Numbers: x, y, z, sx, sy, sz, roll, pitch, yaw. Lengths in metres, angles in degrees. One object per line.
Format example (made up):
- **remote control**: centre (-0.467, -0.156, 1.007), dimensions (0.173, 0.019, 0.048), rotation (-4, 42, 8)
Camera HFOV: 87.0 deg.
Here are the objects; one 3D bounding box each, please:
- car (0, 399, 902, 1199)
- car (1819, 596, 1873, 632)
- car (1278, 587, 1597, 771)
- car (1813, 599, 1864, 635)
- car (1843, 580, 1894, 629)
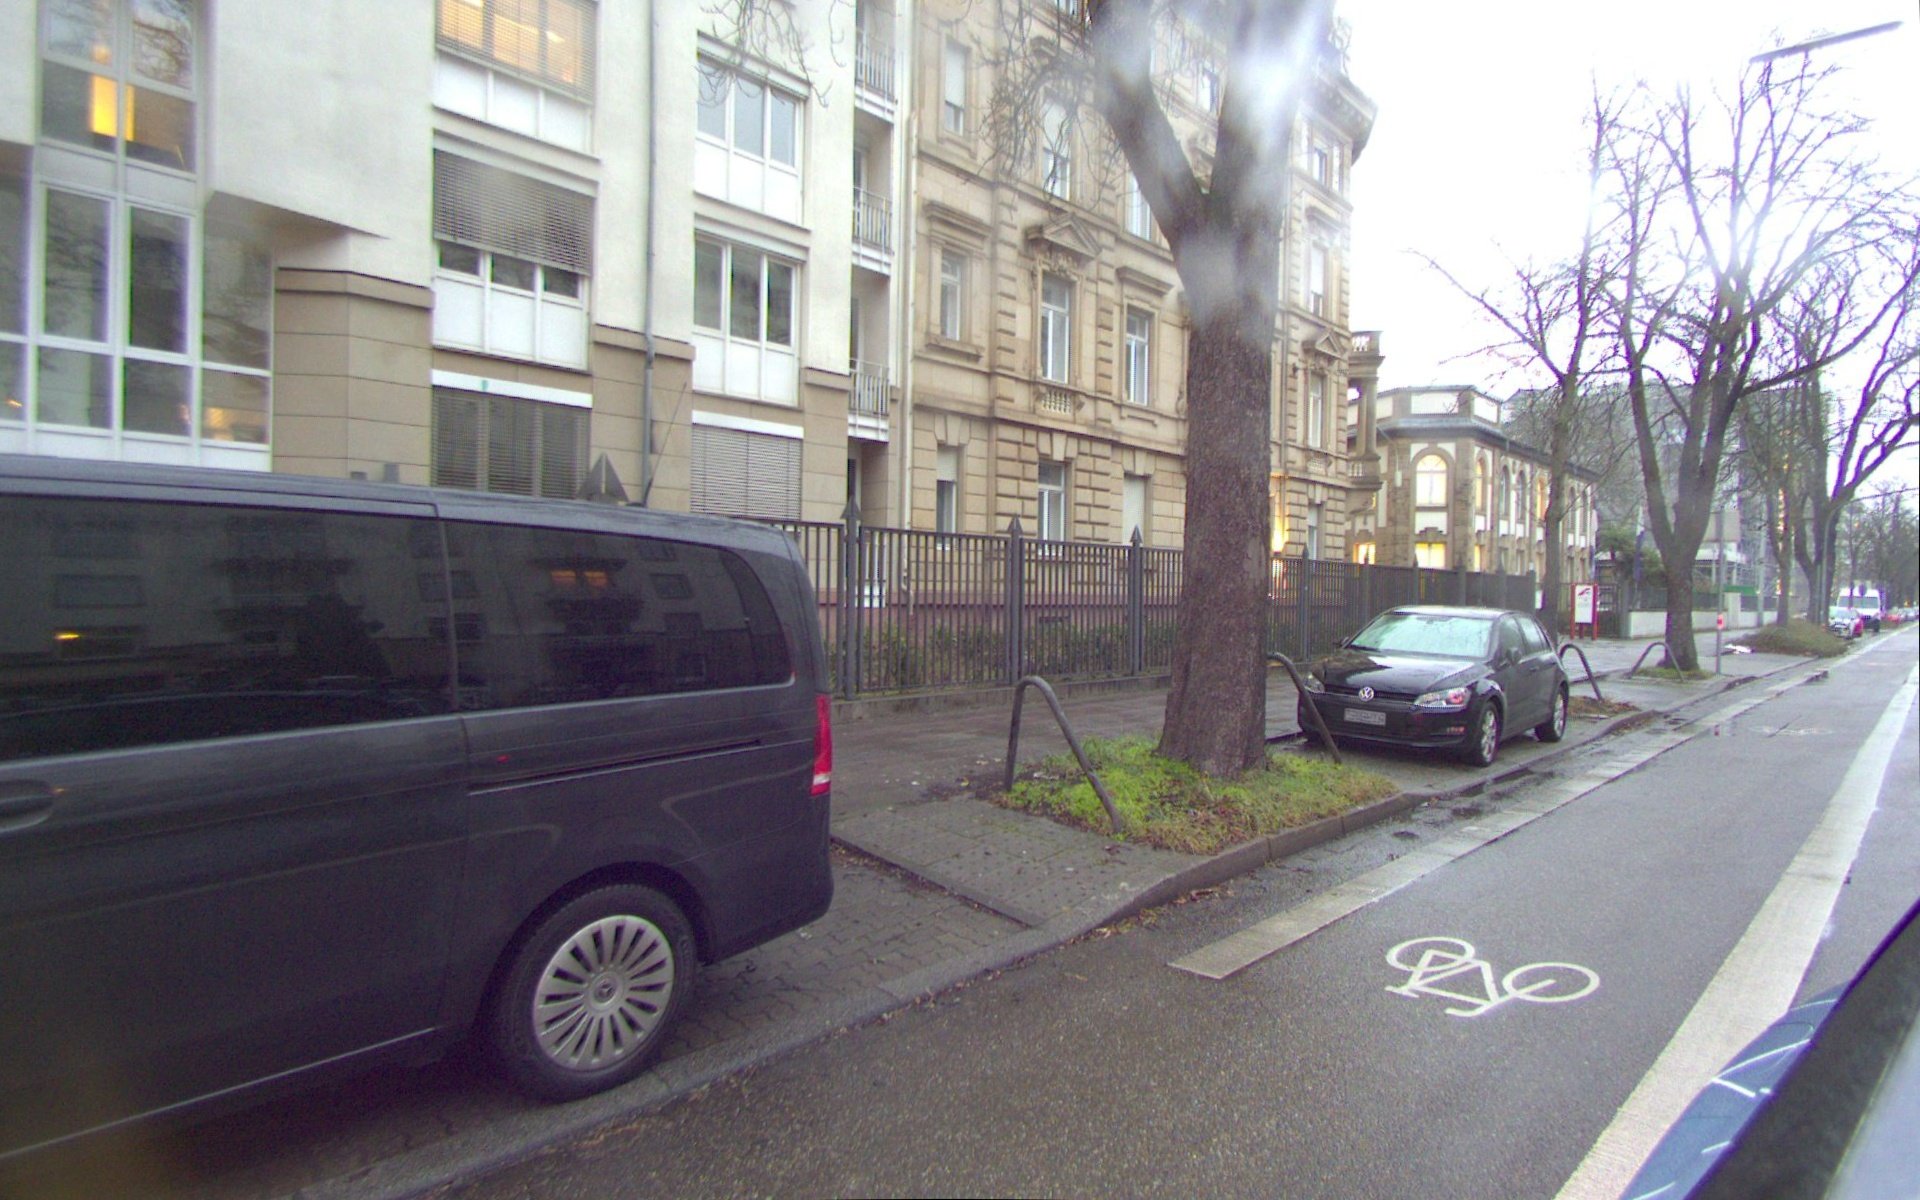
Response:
- **car**: centre (-2.668, 0.510, 2.771), dimensions (4.882, 1.899, 2.032), rotation (0, 2, -45)
- **car**: centre (44.980, 0.690, 51.378), dimensions (1.992, 1.703, 3.939), rotation (0, 1, 42)
- **car**: centre (5.135, 0.675, 10.596), dimensions (1.758, 1.463, 4.091), rotation (4, 2, 44)
- **car**: centre (38.365, 0.705, 44.156), dimensions (1.623, 1.425, 3.939), rotation (0, 1, 42)
- **car**: centre (52.128, 0.204, 58.074), dimensions (2.086, 2.670, 5.367), rotation (0, 1, 42)
